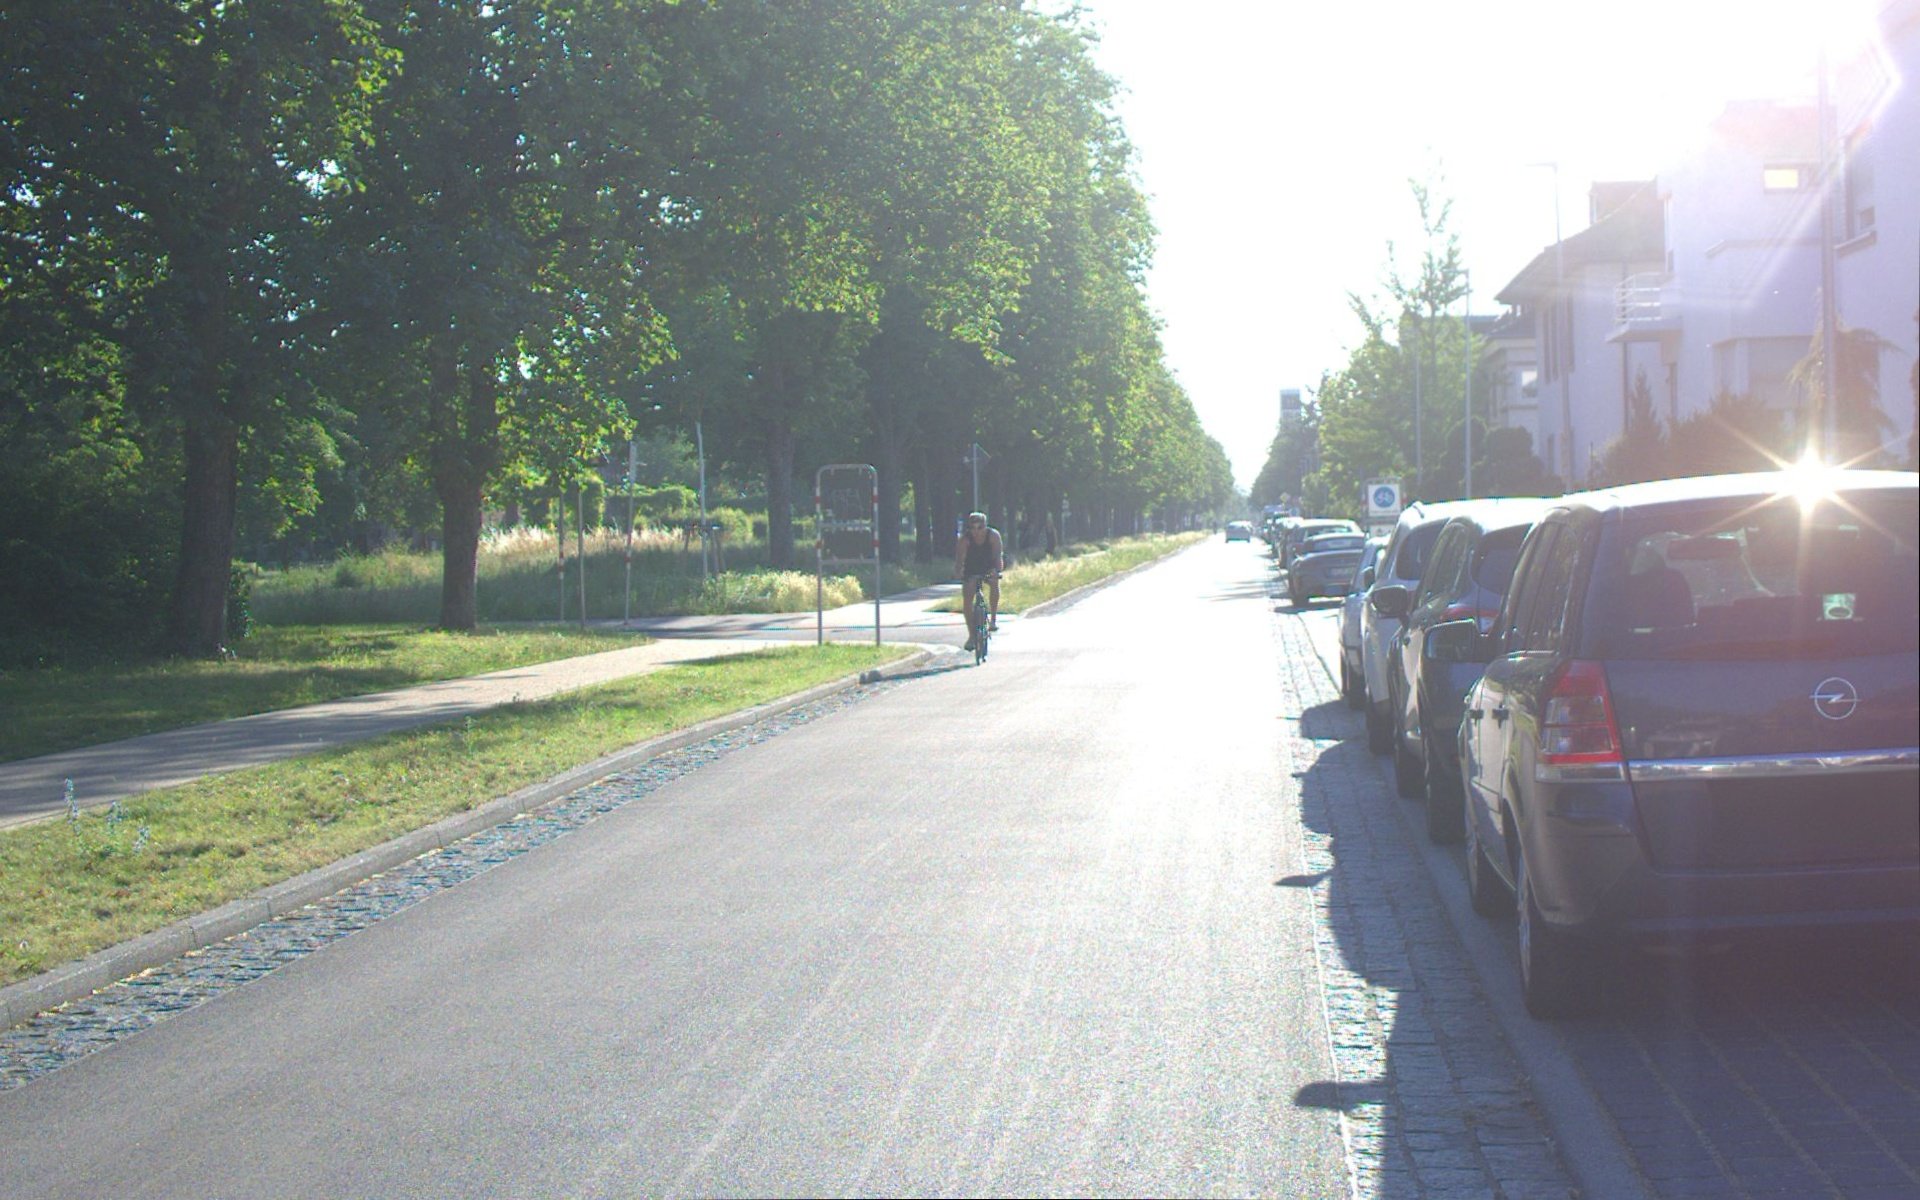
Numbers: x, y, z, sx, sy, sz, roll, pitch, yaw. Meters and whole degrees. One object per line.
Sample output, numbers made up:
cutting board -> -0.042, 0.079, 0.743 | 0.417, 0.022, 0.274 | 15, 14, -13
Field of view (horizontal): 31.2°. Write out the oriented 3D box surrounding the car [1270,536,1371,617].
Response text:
car -> 6.799, -0.471, 65.073 | 1.775, 1.284, 4.272 | -4, 2, 6

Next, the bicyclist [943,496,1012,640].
bicyclist -> 0.214, -0.382, 40.860 | 0.681, 1.667, 1.172 | -2, 0, 5

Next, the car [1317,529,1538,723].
car -> 3.780, 0.156, 28.321 | 1.564, 1.385, 4.374 | -3, 1, 5

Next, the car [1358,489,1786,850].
car -> 2.981, 0.265, 17.476 | 1.679, 1.550, 4.144 | -3, 1, 5

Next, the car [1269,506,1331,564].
car -> 9.556, -1.833, 96.514 | 1.628, 1.499, 3.632 | -3, 2, 6

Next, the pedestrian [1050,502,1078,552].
pedestrian -> 3.420, -2.404, 113.214 | 0.783, 1.609, 0.951 | -1, 1, 9

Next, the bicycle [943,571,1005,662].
bicycle -> 0.172, 0.179, 40.860 | 0.556, 1.028, 1.914 | -2, 1, 5

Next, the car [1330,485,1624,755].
car -> 3.335, 0.071, 22.760 | 1.679, 1.550, 4.129 | -3, 1, 6

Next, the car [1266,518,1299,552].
car -> 15.412, -3.116, 164.283 | 1.498, 1.561, 3.266 | -1, 1, 6

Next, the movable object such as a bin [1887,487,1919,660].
movable object such as a bin -> 8.536, -0.237, 28.985 | 1.237, 1.427, 1.123 | -1, 1, 7

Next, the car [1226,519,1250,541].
car -> 19.947, -5.039, 246.501 | 1.652, 1.536, 3.266 | 0, 1, 5

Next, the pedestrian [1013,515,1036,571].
pedestrian -> 2.117, -1.873, 113.162 | 0.624, 1.824, 0.886 | -1, 1, 9

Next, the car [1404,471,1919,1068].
car -> 2.537, 0.408, 11.652 | 1.710, 1.605, 4.168 | -3, 1, 4

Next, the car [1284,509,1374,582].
car -> 8.181, -1.225, 76.454 | 1.744, 1.469, 3.922 | -4, 1, 4
